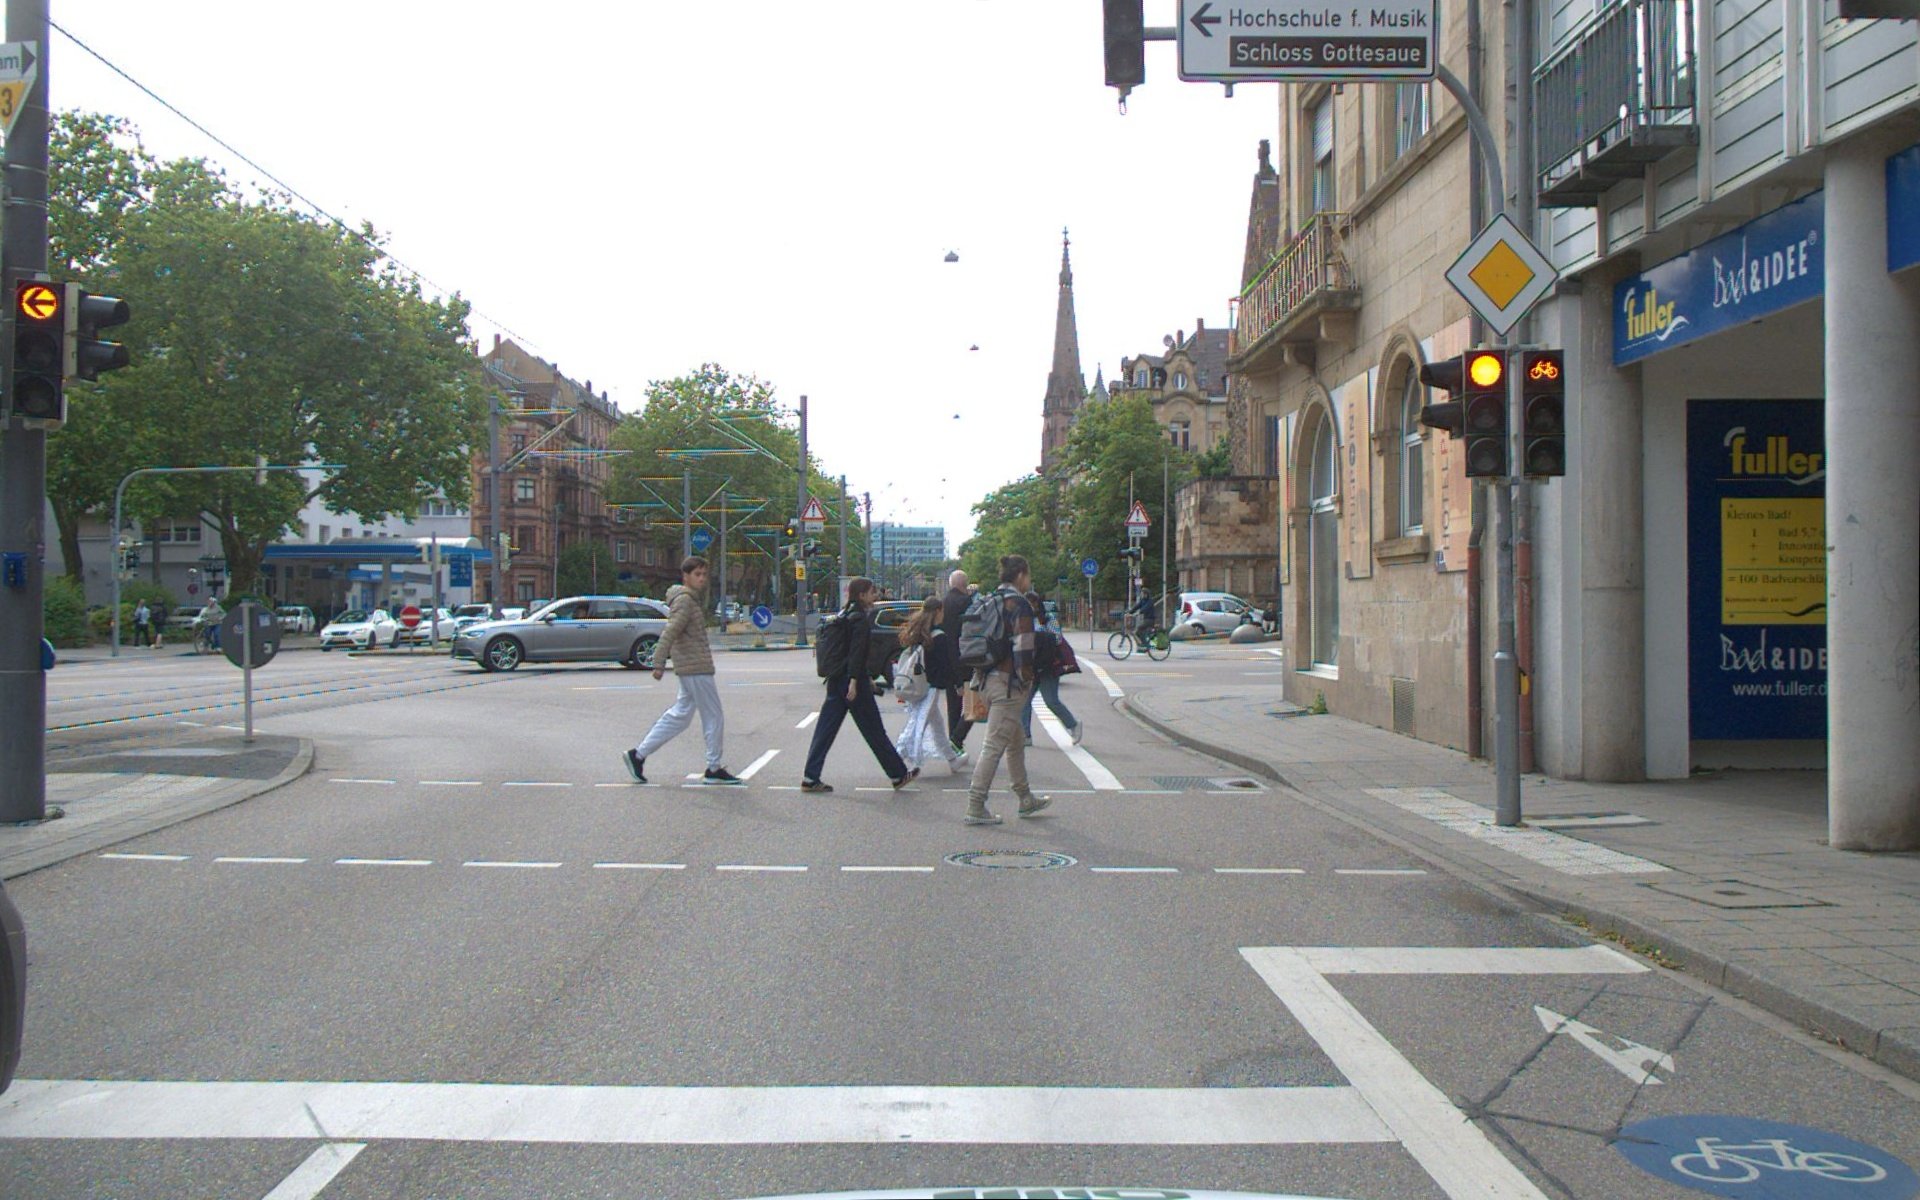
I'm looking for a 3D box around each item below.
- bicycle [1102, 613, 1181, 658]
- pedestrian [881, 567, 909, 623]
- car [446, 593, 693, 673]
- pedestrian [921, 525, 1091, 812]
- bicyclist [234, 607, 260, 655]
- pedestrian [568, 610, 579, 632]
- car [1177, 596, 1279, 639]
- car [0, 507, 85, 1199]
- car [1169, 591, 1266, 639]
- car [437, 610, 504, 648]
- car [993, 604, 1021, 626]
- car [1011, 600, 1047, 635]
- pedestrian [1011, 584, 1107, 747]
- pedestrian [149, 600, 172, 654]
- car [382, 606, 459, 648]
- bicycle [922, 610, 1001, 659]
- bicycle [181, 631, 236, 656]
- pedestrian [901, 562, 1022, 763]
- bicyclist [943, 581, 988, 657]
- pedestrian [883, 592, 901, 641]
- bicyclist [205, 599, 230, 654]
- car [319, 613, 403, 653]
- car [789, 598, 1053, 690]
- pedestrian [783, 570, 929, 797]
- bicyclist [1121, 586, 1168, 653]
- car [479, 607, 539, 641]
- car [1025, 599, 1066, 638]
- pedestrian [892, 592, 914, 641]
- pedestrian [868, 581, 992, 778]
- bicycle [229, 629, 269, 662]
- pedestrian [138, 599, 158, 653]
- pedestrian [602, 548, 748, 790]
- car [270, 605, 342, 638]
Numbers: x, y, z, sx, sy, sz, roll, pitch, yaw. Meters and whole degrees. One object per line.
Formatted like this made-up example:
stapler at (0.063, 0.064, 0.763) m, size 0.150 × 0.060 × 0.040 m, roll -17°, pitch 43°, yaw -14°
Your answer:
bicycle at (4.734, 0.927, 43.086) m, size 1.910 × 1.155 × 0.731 m, roll 1°, pitch -1°, yaw -22°
pedestrian at (-2.002, -0.155, 50.773) m, size 0.834 × 1.683 × 0.508 m, roll 1°, pitch -1°, yaw -3°
car at (-7.937, 0.673, 33.640) m, size 4.653 × 1.536 × 1.826 m, roll 1°, pitch -1°, yaw -23°
pedestrian at (0.324, 0.440, 11.082) m, size 0.616 × 1.810 × 1.129 m, roll -1°, pitch -1°, yaw 36°
bicyclist at (-23.701, 1.020, 54.979) m, size 0.576 × 1.595 × 0.618 m, roll 1°, pitch -1°, yaw -1°
pedestrian at (-26.765, 1.476, 114.519) m, size 0.444 × 1.486 × 0.523 m, roll 0°, pitch -1°, yaw 40°
car at (10.646, 0.694, 65.929) m, size 3.721 × 1.629 × 2.000 m, roll 1°, pitch 0°, yaw -1°
car at (-2.978, 0.595, 1.775) m, size 1.842 × 1.629 × 4.355 m, roll 0°, pitch 0°, yaw -2°
car at (10.754, 0.621, 69.342) m, size 3.721 × 1.937 × 2.000 m, roll 1°, pitch -1°, yaw -1°
car at (-21.516, 1.264, 72.805) m, size 1.856 × 1.585 × 3.835 m, roll 1°, pitch 0°, yaw -1°
car at (3.695, 1.155, 129.391) m, size 1.953 × 1.635 × 4.163 m, roll -2°, pitch 0°, yaw -1°
car at (4.164, 1.059, 100.586) m, size 1.953 × 2.049 × 3.999 m, roll 1°, pitch 0°, yaw -1°
pedestrian at (1.082, 0.696, 18.002) m, size 0.659 × 1.709 × 0.864 m, roll 0°, pitch -1°, yaw 38°
pedestrian at (-27.109, 0.902, 56.057) m, size 0.367 × 1.815 × 0.551 m, roll 1°, pitch -1°, yaw 30°
car at (-21.421, 1.051, 65.802) m, size 1.856 × 1.585 × 3.835 m, roll 1°, pitch 0°, yaw -1°
bicycle at (0.035, 0.854, 40.717) m, size 1.880 × 1.162 × 0.622 m, roll 1°, pitch -1°, yaw -30°
bicycle at (-24.947, 1.449, 54.888) m, size 1.645 × 0.786 × 0.656 m, roll 1°, pitch -1°, yaw 19°
pedestrian at (0.015, 0.566, 15.449) m, size 0.900 × 1.815 × 0.645 m, roll 1°, pitch -1°, yaw 37°
bicyclist at (0.125, 0.461, 40.775) m, size 0.955 × 1.851 × 0.527 m, roll 1°, pitch -1°, yaw -30°
pedestrian at (-2.185, 0.528, 53.306) m, size 0.535 × 1.564 × 0.465 m, roll 1°, pitch -1°, yaw -5°
bicyclist at (-24.654, 0.869, 54.920) m, size 0.522 × 1.815 × 0.470 m, roll 1°, pitch -1°, yaw 19°
car at (-21.448, 1.160, 59.390) m, size 1.601 × 1.348 × 3.999 m, roll 1°, pitch 0°, yaw -1°
car at (-0.673, 0.779, 29.491) m, size 4.383 × 1.536 × 1.821 m, roll 1°, pitch -1°, yaw -29°
pedestrian at (-0.796, 0.623, 12.824) m, size 0.616 × 1.681 × 0.993 m, roll 1°, pitch -1°, yaw 36°
bicyclist at (4.805, 0.517, 43.151) m, size 1.023 × 1.713 × 0.641 m, roll 1°, pitch -1°, yaw -21°
car at (-21.732, 1.133, 79.816) m, size 1.856 × 1.585 × 3.835 m, roll 1°, pitch 0°, yaw -1°
car at (4.707, 1.010, 91.163) m, size 1.953 × 2.049 × 3.999 m, roll 1°, pitch 0°, yaw -1°
pedestrian at (-1.823, 0.528, 52.760) m, size 0.640 × 1.564 × 0.465 m, roll 1°, pitch -1°, yaw -5°
pedestrian at (-0.253, 0.661, 14.180) m, size 0.689 × 1.621 × 0.828 m, roll 1°, pitch -1°, yaw 36°
bicycle at (-23.763, 1.519, 55.313) m, size 0.511 × 1.035 × 1.936 m, roll 1°, pitch 0°, yaw -1°
pedestrian at (-27.565, 0.892, 56.141) m, size 0.367 × 1.815 × 0.448 m, roll 1°, pitch -1°, yaw 32°
pedestrian at (-2.253, 0.533, 13.054) m, size 0.998 × 1.845 × 0.580 m, roll 1°, pitch -1°, yaw -24°
car at (-31.899, 1.030, 80.834) m, size 1.953 × 1.557 × 3.999 m, roll 1°, pitch 0°, yaw -1°
